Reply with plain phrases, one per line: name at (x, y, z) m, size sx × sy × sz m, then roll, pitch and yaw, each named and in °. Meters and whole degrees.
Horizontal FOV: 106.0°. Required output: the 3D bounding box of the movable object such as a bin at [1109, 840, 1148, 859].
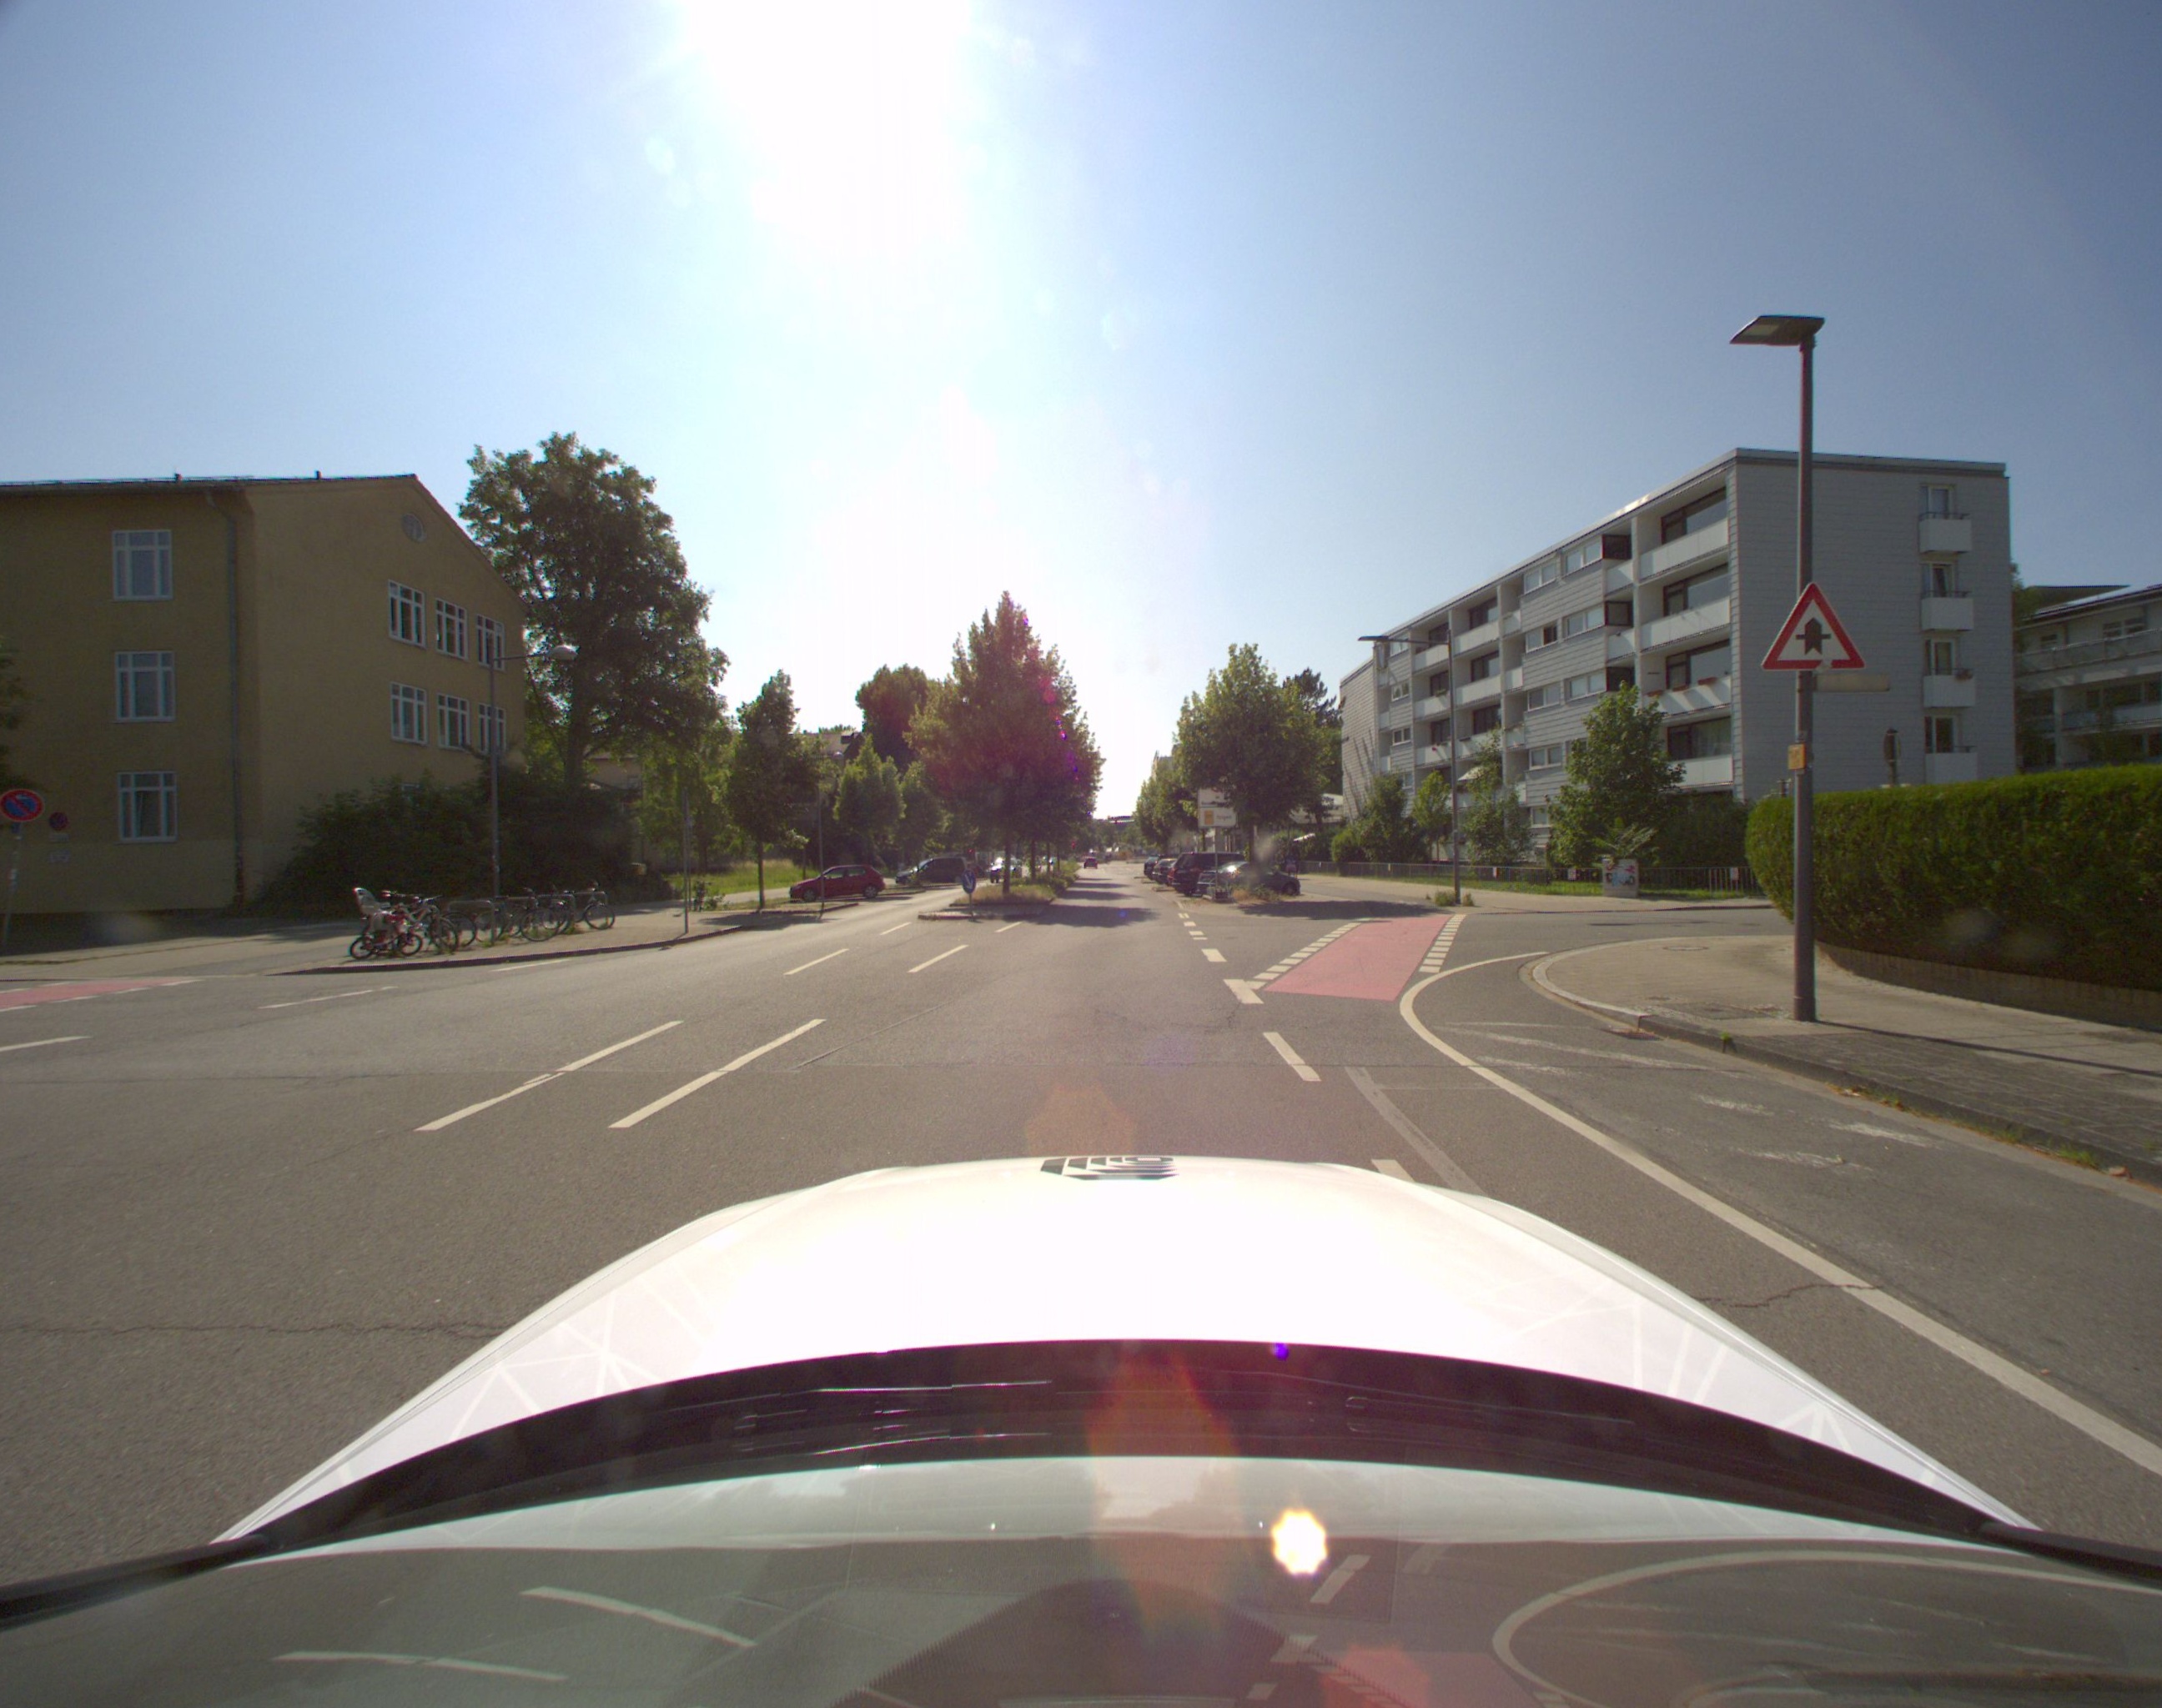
movable object such as a bin at (11.986, -1.147, 206.038) m, size 9.635 × 4.550 × 3.166 m, roll -1°, pitch 0°, yaw 2°

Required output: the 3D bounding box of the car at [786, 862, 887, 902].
car at (-10.556, 1.183, 35.170) m, size 4.000 × 1.466 × 1.987 m, roll -3°, pitch 0°, yaw -20°

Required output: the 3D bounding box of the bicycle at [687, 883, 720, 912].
bicycle at (-12.488, 1.423, 26.948) m, size 0.519 × 0.903 × 1.269 m, roll -2°, pitch -1°, yaw -3°

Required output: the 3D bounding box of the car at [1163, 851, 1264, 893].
car at (5.658, 0.757, 34.760) m, size 4.015 × 1.640 × 1.861 m, roll -1°, pitch -2°, yaw -33°

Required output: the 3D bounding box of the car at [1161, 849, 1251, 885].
car at (6.175, 0.614, 40.209) m, size 3.998 × 1.640 × 1.789 m, roll -1°, pitch 0°, yaw -18°

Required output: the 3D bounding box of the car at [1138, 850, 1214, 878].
car at (6.018, 0.601, 51.358) m, size 4.763 × 1.660 × 1.735 m, roll -1°, pitch 0°, yaw -33°

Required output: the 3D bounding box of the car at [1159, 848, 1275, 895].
car at (5.294, 0.654, 31.622) m, size 4.135 × 1.640 × 2.024 m, roll -1°, pitch 0°, yaw -32°

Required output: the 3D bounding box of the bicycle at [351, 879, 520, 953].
bicycle at (-12.279, 1.170, 15.555) m, size 2.537 × 1.239 × 0.739 m, roll -2°, pitch 0°, yaw -2°

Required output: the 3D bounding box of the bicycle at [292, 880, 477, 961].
bicycle at (-12.338, 1.162, 14.482) m, size 2.537 × 1.256 × 0.739 m, roll -2°, pitch 0°, yaw -2°

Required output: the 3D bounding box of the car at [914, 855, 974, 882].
car at (-9.633, 1.017, 57.198) m, size 3.780 × 1.772 × 1.804 m, roll -1°, pitch -1°, yaw -24°

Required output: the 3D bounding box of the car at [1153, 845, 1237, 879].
car at (5.924, 0.407, 42.379) m, size 4.001 × 1.640 × 1.741 m, roll -1°, pitch 1°, yaw -21°

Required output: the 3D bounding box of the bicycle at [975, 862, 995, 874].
bicycle at (-9.530, 1.360, 80.904) m, size 1.838 × 1.122 × 0.693 m, roll -1°, pitch 0°, yaw 2°

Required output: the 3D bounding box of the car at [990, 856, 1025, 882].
car at (-4.737, 0.974, 52.994) m, size 1.734 × 1.547 × 4.075 m, roll -3°, pitch 0°, yaw 2°

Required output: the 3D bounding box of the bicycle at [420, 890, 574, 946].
bicycle at (-11.944, 1.301, 16.718) m, size 2.537 × 0.987 × 0.739 m, roll -2°, pitch 0°, yaw -2°

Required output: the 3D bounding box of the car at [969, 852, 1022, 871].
car at (-12.608, 1.096, 120.409) m, size 7.410 × 2.674 × 2.900 m, roll -1°, pitch 0°, yaw -2°

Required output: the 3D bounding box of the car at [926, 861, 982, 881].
car at (-9.655, 1.272, 62.020) m, size 3.858 × 1.423 × 1.697 m, roll -1°, pitch -1°, yaw -35°

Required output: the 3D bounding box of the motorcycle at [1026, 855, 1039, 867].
motorcycle at (-4.348, 0.613, 73.062) m, size 0.919 × 0.992 × 2.236 m, roll -1°, pitch 0°, yaw 3°

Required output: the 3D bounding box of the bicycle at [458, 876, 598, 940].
bicycle at (-12.181, 1.170, 17.996) m, size 2.508 × 1.256 × 0.739 m, roll -2°, pitch 0°, yaw -2°

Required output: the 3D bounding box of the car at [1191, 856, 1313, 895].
car at (6.125, 0.753, 29.119) m, size 4.006 × 1.236 × 1.739 m, roll -1°, pitch 0°, yaw -25°

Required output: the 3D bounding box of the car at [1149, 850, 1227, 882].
car at (5.926, 0.653, 45.241) m, size 3.988 × 1.640 × 1.746 m, roll -1°, pitch 0°, yaw -11°

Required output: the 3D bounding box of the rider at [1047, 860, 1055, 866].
rider at (-5.858, 1.699, 158.668) m, size 1.387 × 1.196 × 2.696 m, roll -1°, pitch 0°, yaw -1°

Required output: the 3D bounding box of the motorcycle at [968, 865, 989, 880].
motorcycle at (-9.167, 1.622, 73.089) m, size 1.843 × 1.284 × 0.691 m, roll -1°, pitch 0°, yaw -6°

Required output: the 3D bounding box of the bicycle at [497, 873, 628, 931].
bicycle at (-12.141, 1.123, 19.118) m, size 2.537 × 1.256 × 0.739 m, roll -1°, pitch 0°, yaw -2°

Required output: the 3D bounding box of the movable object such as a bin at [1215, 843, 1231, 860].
movable object such as a bin at (14.531, -0.243, 83.379) m, size 1.304 × 1.592 × 1.395 m, roll -4°, pitch 0°, yaw -1°

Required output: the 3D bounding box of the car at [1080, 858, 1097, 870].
car at (0.976, 1.273, 103.458) m, size 1.988 × 1.398 × 3.997 m, roll -1°, pitch 0°, yaw -2°

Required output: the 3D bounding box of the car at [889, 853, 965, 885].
car at (-9.651, 0.926, 51.185) m, size 4.208 × 1.816 × 1.982 m, roll -2°, pitch 1°, yaw -37°
